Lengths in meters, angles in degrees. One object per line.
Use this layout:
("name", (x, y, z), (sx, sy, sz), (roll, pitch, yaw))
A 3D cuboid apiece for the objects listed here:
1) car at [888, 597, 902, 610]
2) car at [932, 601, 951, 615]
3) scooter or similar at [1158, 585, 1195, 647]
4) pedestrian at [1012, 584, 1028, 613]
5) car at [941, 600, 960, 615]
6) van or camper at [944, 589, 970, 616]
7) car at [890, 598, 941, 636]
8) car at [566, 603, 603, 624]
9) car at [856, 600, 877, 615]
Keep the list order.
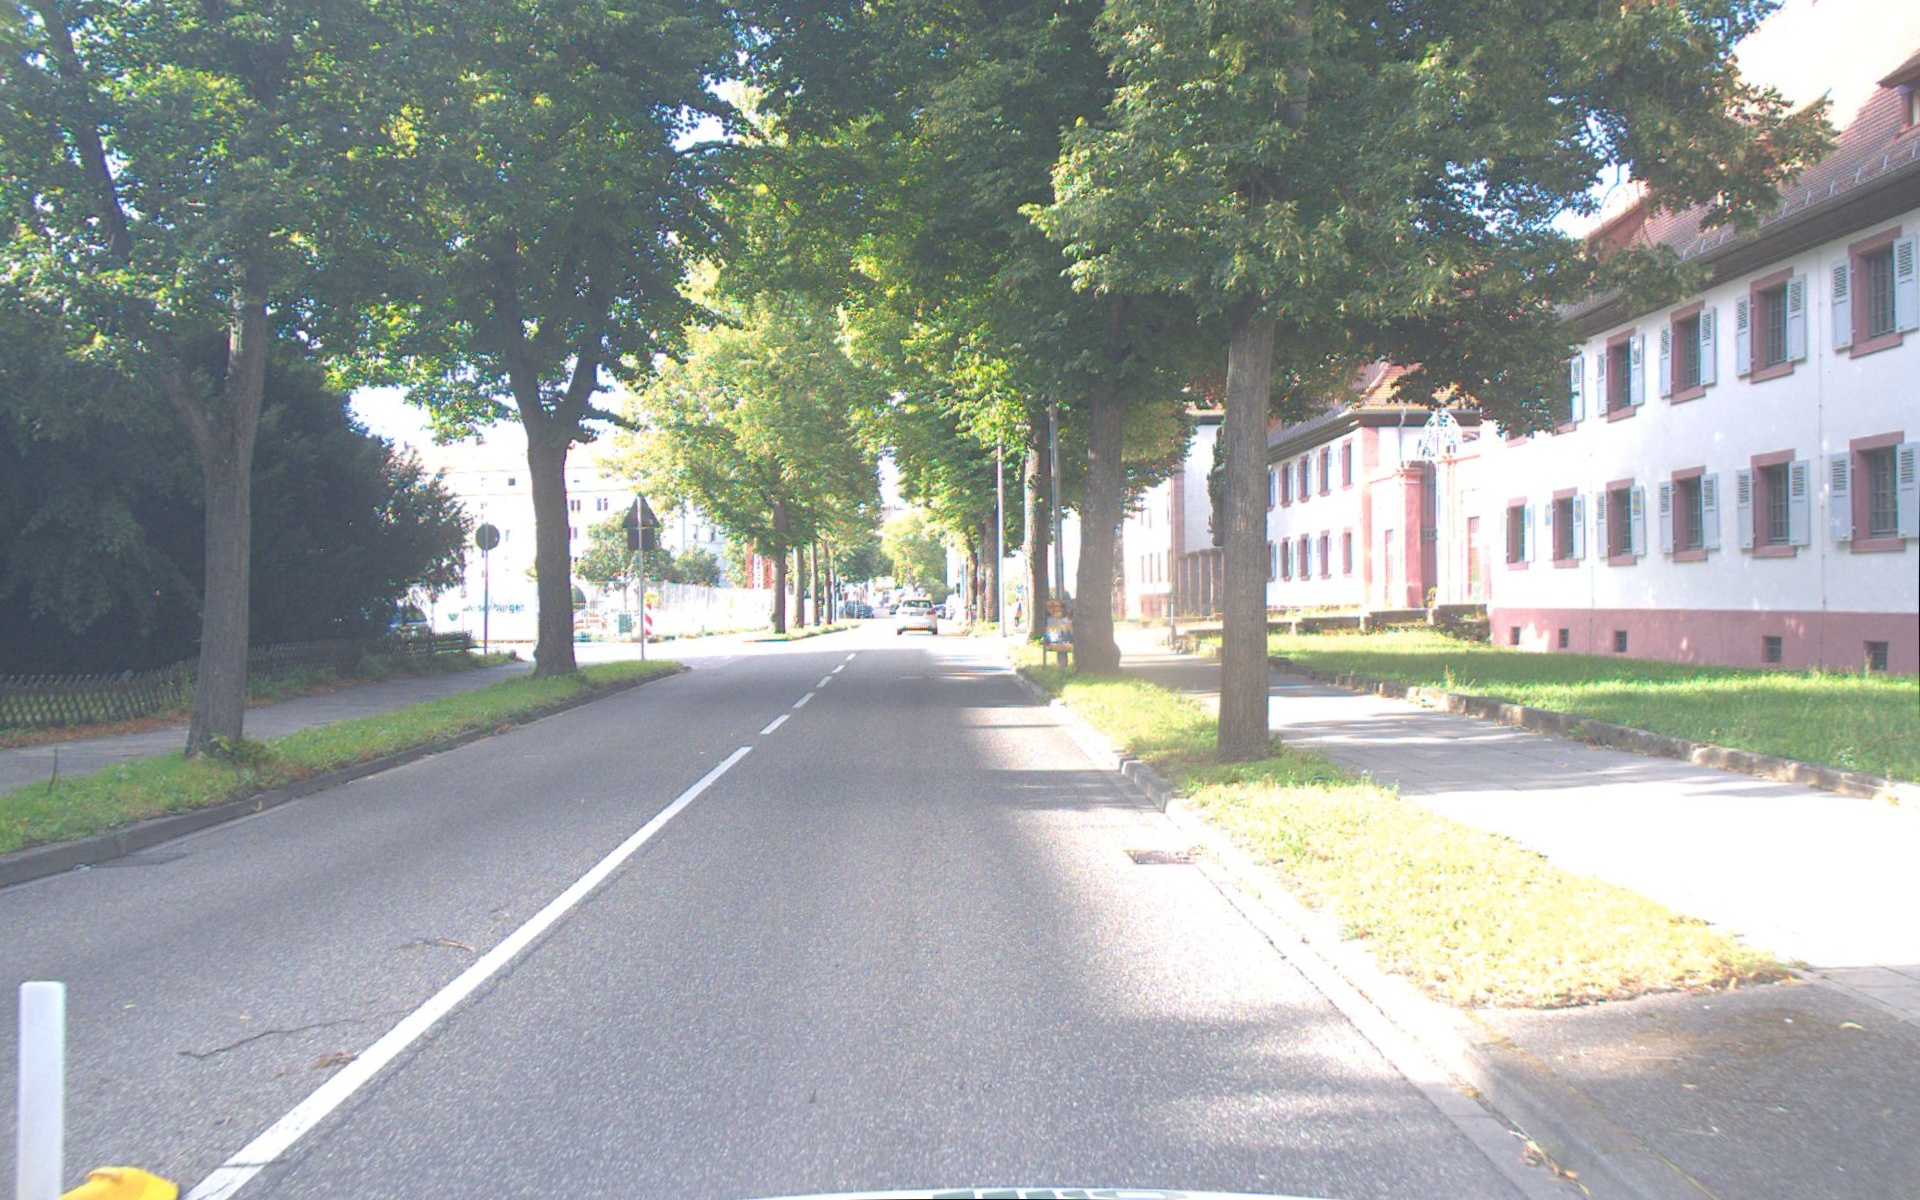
("car", (-9.636, 0.544, 246.712), (1.953, 1.786, 3.999), (0, -1, -1))
("car", (-2.158, 0.893, 191.477), (1.954, 1.601, 3.998), (-2, 0, -2))
("scooter or similar", (4.756, 0.339, 36.420), (0.567, 1.314, 1.381), (-3, 0, 0))
("pedestrian", (3.343, -0.081, 92.686), (0.797, 1.618, 0.769), (-1, 0, -2))
("car", (-1.066, 0.815, 180.954), (1.954, 1.601, 3.998), (-2, 0, -2))
("van or camper", (-0.303, 0.275, 170.050), (2.166, 2.653, 5.365), (-2, 0, -5))
("car", (-1.954, 0.720, 71.446), (1.954, 1.582, 4.269), (0, -1, -5))
("car", (-37.203, 1.335, 163.891), (1.951, 2.049, 4.003), (-2, 0, 13))
("car", (-10.549, 0.863, 186.088), (1.956, 1.668, 3.993), (-2, 0, -8))
